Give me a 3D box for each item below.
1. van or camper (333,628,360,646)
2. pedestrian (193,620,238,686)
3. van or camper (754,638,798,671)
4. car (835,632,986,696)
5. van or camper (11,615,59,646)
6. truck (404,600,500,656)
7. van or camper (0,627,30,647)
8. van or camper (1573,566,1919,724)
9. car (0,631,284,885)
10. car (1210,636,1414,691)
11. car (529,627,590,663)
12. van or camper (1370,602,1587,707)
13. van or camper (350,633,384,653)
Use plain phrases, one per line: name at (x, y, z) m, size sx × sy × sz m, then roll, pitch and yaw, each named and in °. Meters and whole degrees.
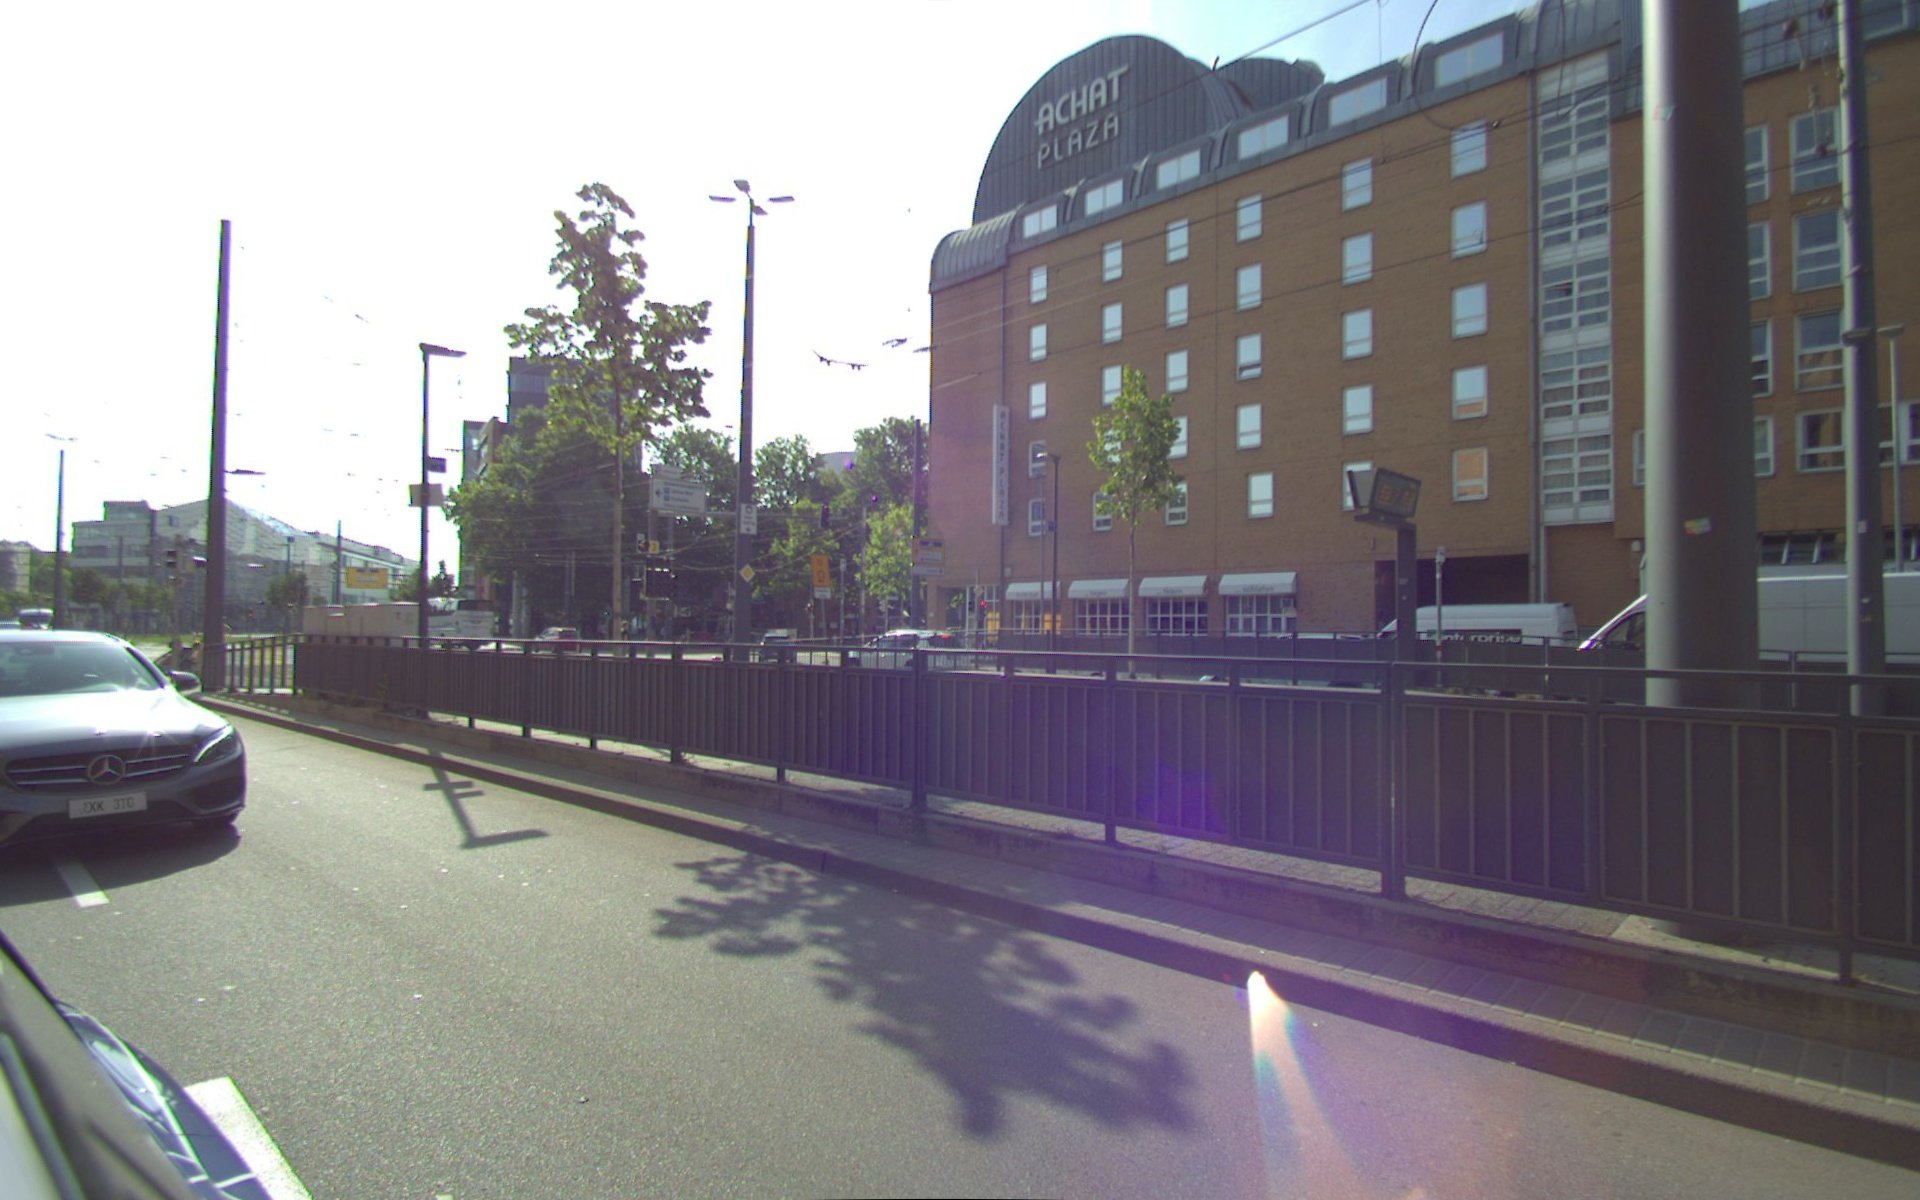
van or camper at (-60.935, 3.703, 100.515) m, size 1.897 × 1.714 × 4.009 m, roll 3°, pitch -3°, yaw -37°
pedestrian at (-18.824, 1.328, 25.583) m, size 0.640 × 1.646 × 0.579 m, roll 0°, pitch -3°, yaw 11°
van or camper at (-9.096, 2.665, 49.849) m, size 1.896 × 1.549 × 4.010 m, roll 1°, pitch -3°, yaw -13°
car at (-1.423, 1.733, 28.174) m, size 4.026 × 1.630 × 1.971 m, roll -2°, pitch -4°, yaw 44°
van or camper at (-69.816, 2.313, 76.443) m, size 1.902 × 2.228 × 3.997 m, roll 2°, pitch -3°, yaw -32°
truck at (-37.666, 2.106, 74.685) m, size 3.122 × 3.805 × 12.374 m, roll 3°, pitch -3°, yaw -42°
van or camper at (-63.722, 2.469, 67.393) m, size 1.902 × 1.323 × 3.997 m, roll 2°, pitch -3°, yaw -32°
van or camper at (12.144, 0.650, 14.570) m, size 5.344 × 2.029 × 2.058 m, roll -2°, pitch -4°, yaw 45°
car at (-6.803, 0.940, 7.353) m, size 4.229 × 1.403 × 1.884 m, roll -1°, pitch -2°, yaw 37°
car at (6.861, 1.211, 19.919) m, size 1.527 × 0.978 × 3.490 m, roll 4°, pitch -4°, yaw -45°
car at (-23.567, 2.634, 59.550) m, size 1.970 × 2.029 × 4.004 m, roll 3°, pitch -3°, yaw -43°
van or camper at (15.175, 1.566, 29.909) m, size 1.970 × 2.823 × 5.356 m, roll 3°, pitch -4°, yaw -45°
van or camper at (-48.484, 3.525, 82.686) m, size 1.816 × 1.564 × 4.008 m, roll 3°, pitch -3°, yaw -38°
